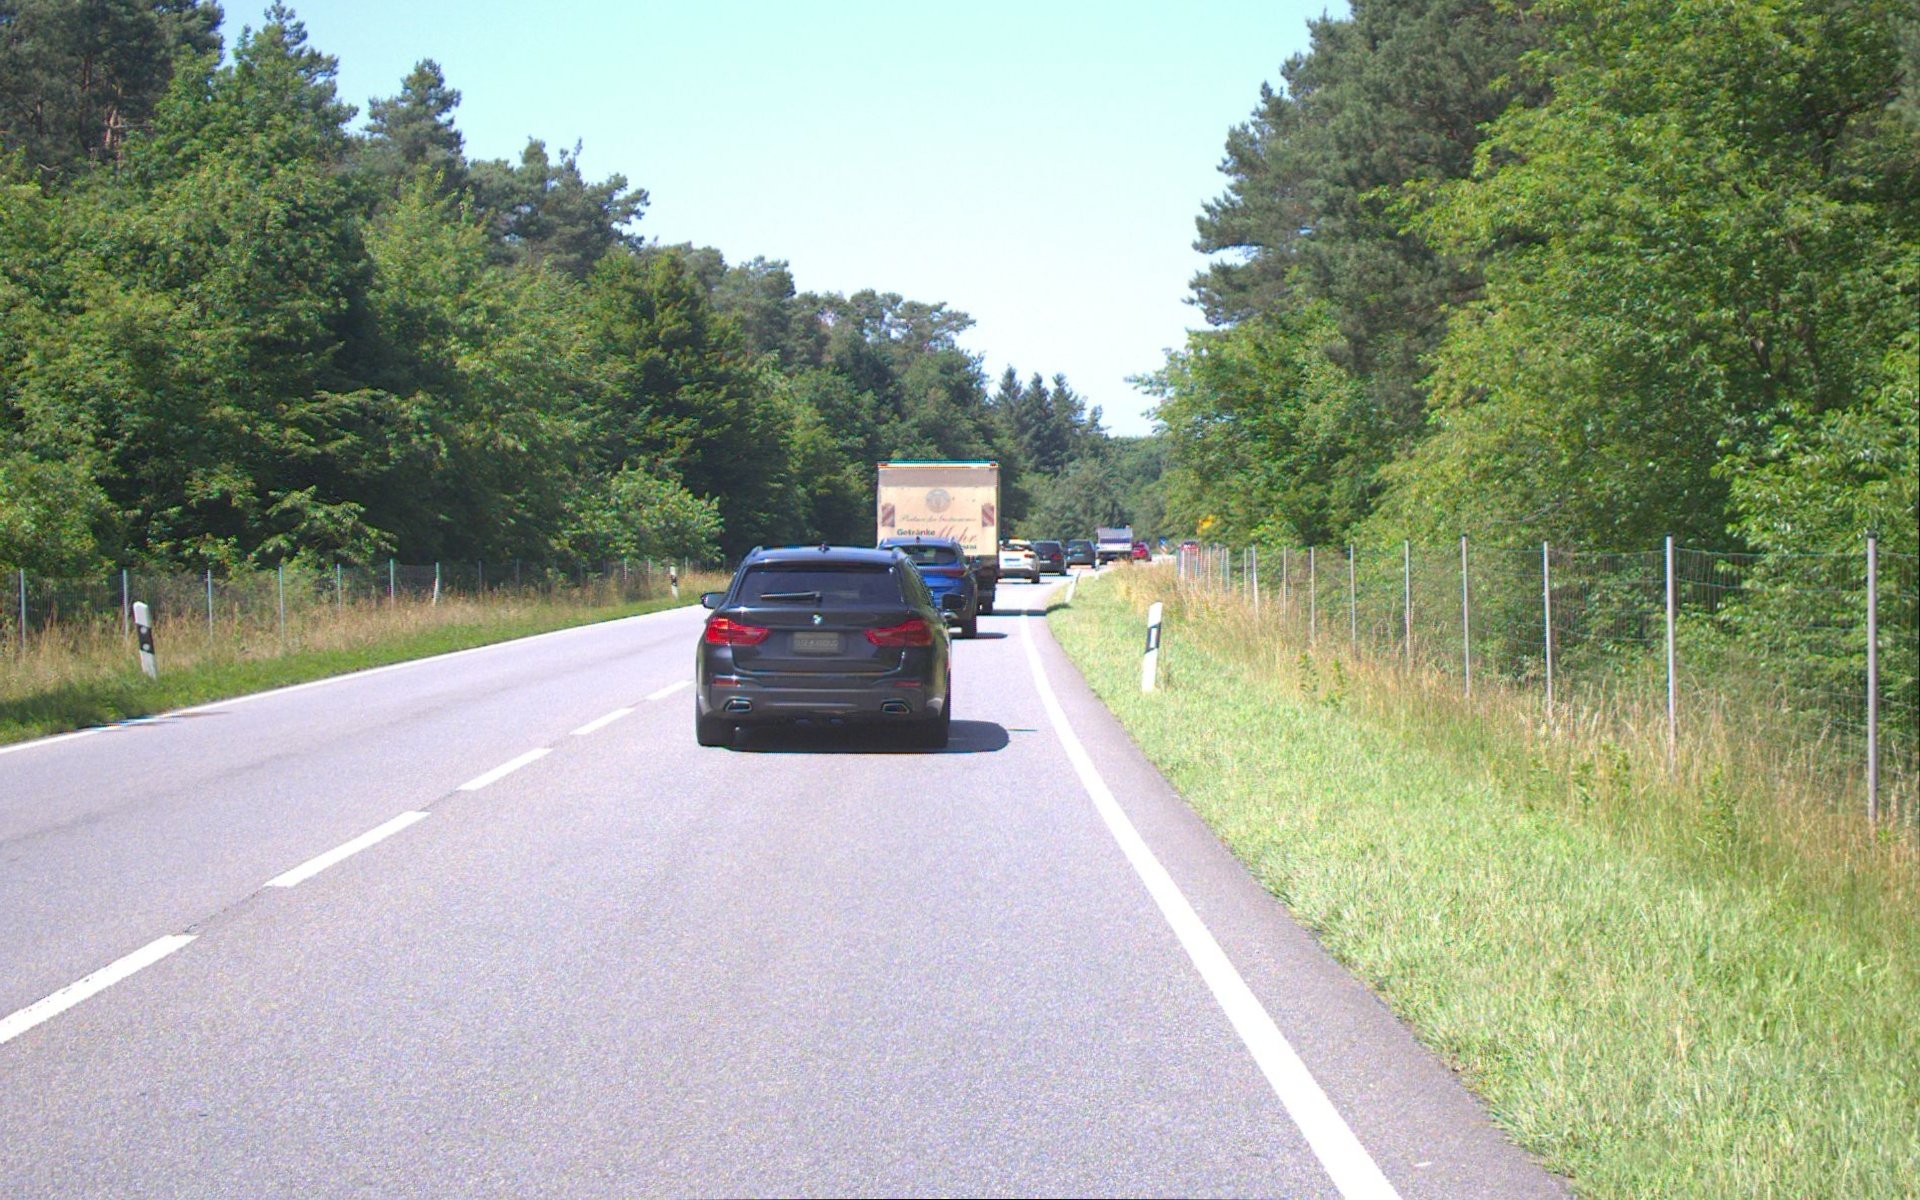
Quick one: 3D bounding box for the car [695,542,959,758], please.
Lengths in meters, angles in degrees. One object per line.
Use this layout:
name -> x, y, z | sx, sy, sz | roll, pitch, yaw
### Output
car -> -1.018, 0.316, 26.155 | 1.820, 1.465, 4.001 | 1, 1, -2

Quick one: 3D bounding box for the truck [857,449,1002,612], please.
truck -> -0.737, -1.524, 75.045 | 2.965, 3.376, 6.439 | 0, 1, -2

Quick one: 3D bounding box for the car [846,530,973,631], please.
car -> -0.811, -0.340, 55.934 | 1.947, 1.536, 4.000 | -1, 1, -1

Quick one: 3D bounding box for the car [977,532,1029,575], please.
car -> 1.611, -1.778, 130.090 | 1.863, 1.600, 4.000 | -1, 1, -1

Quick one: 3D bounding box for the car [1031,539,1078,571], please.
car -> 4.364, -2.088, 159.612 | 1.993, 1.415, 4.000 | 1, 1, -1

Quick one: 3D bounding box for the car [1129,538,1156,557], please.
car -> 13.258, -3.841, 249.893 | 1.795, 1.349, 3.928 | 0, 1, 6

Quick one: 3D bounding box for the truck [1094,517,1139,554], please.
truck -> 9.915, -4.088, 217.422 | 2.564, 2.194, 4.973 | -1, 2, 5

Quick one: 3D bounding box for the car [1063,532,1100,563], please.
car -> 6.862, -2.972, 193.896 | 1.994, 1.631, 4.000 | -1, 1, 3
